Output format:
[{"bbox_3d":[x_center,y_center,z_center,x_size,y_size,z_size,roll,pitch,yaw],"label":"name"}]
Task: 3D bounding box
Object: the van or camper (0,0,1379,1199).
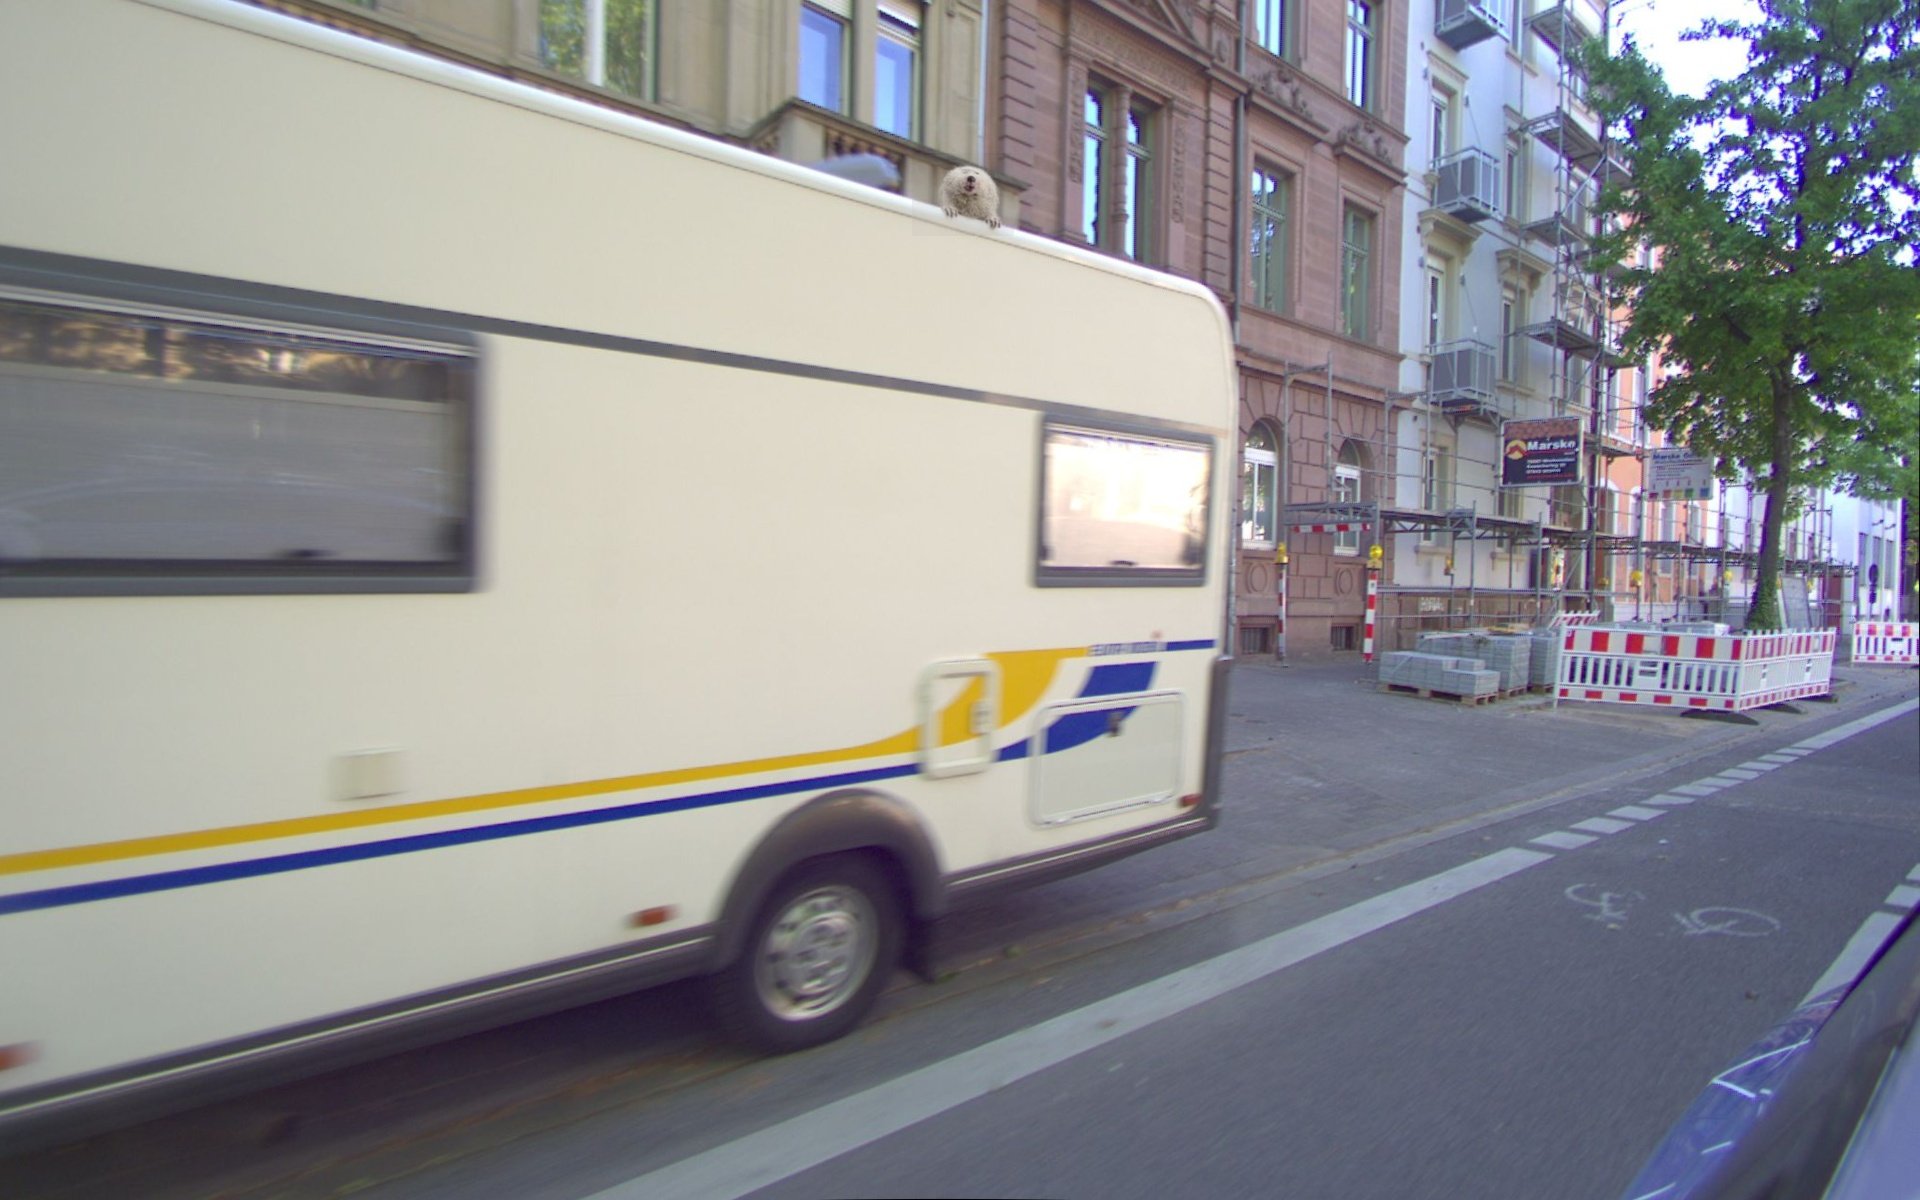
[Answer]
[{"bbox_3d":[-1.932,-0.169,3.412,7.738,3.007,2.486,0,5,-37],"label":"van or camper"}]
